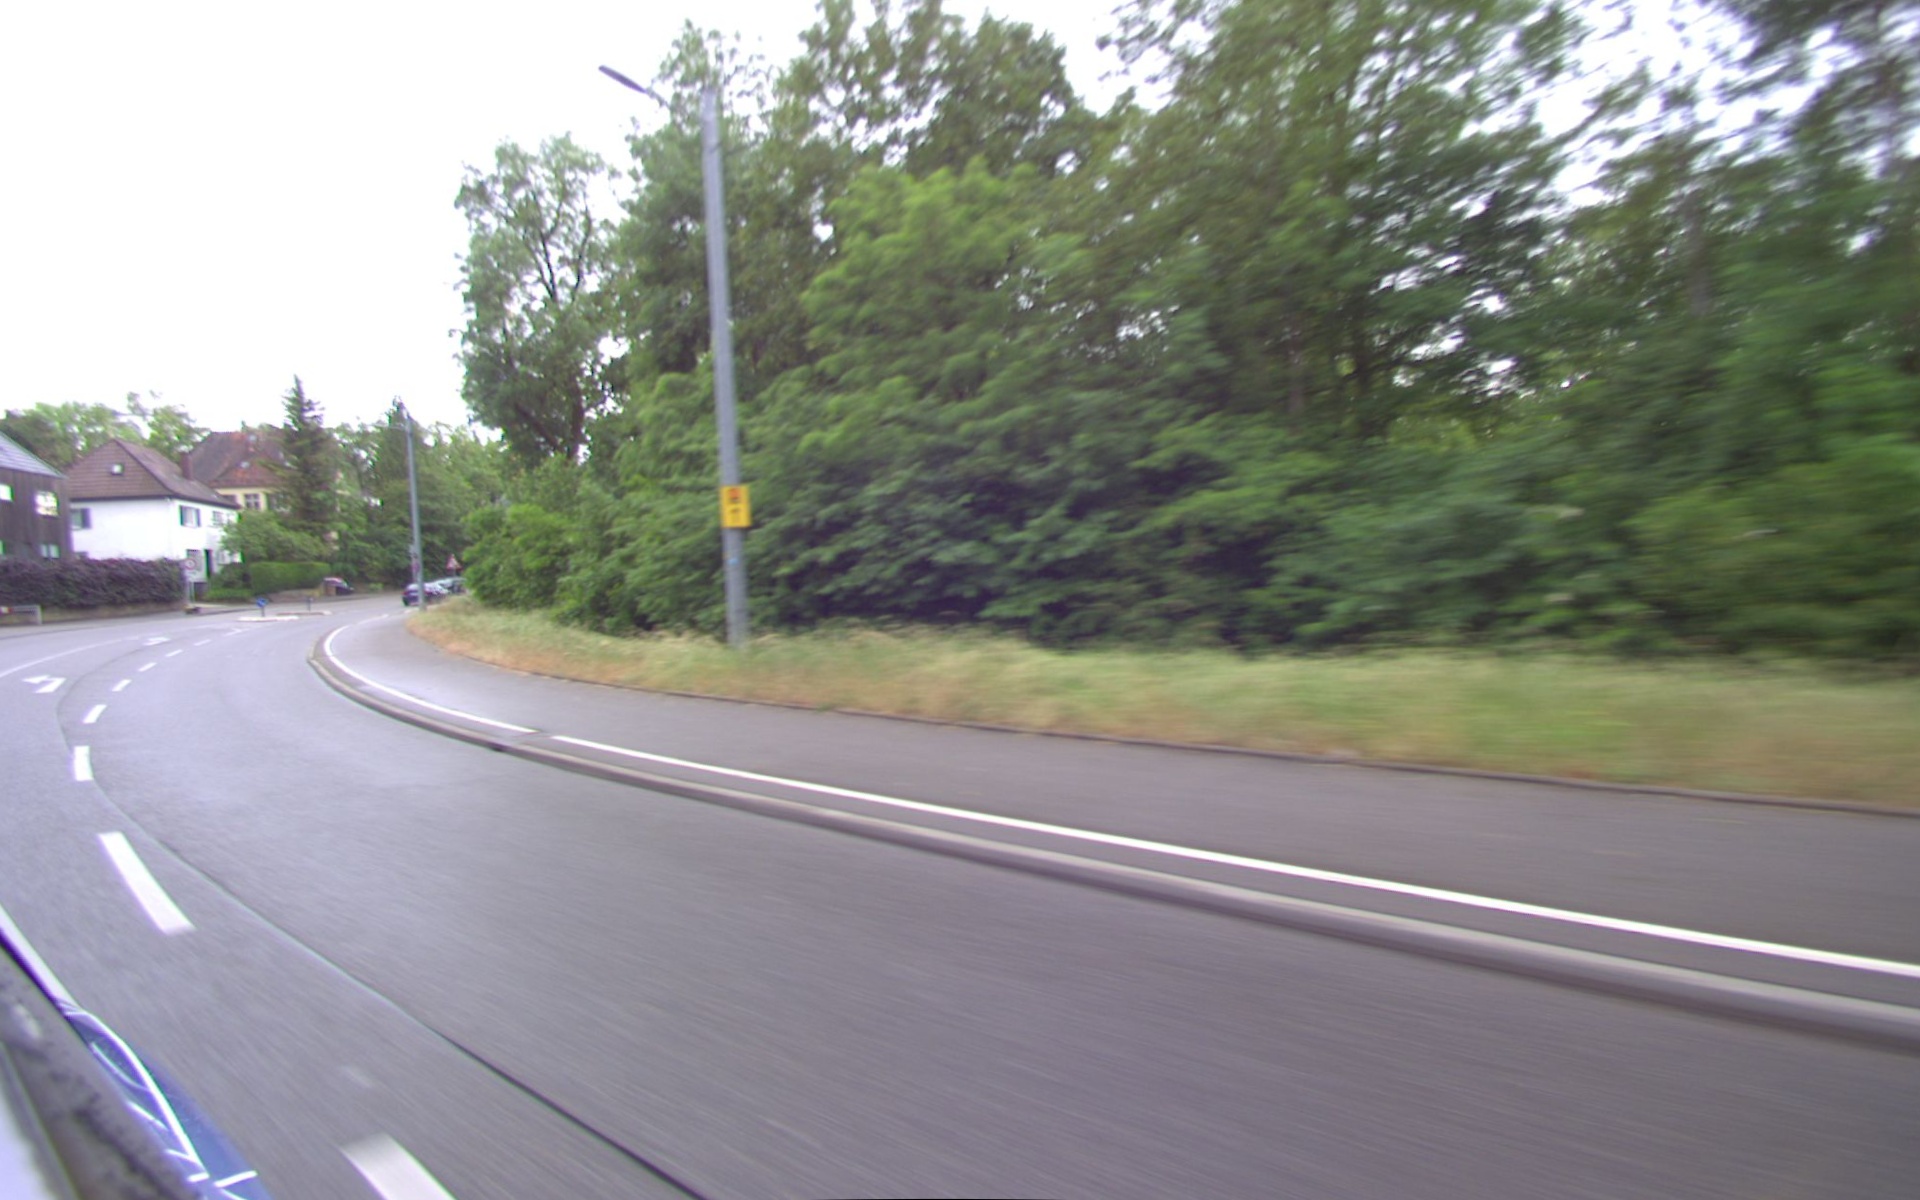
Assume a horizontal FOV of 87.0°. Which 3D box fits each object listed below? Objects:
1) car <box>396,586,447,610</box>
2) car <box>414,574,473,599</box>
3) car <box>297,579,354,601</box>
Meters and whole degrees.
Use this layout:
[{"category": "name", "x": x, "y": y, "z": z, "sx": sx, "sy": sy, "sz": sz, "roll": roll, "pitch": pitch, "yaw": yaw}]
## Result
[{"category": "car", "x": -35.878, "y": -0.172, "z": 67.540, "sx": 1.822, "sy": 1.512, "sz": 4.643, "roll": 1, "pitch": 1, "yaw": -12}, {"category": "car", "x": -40.723, "y": -1.088, "z": 79.908, "sx": 1.981, "sy": 1.729, "sz": 3.982, "roll": -2, "pitch": 3, "yaw": 15}, {"category": "car", "x": -49.598, "y": -0.810, "z": 79.162, "sx": 3.434, "sy": 1.422, "sz": 1.430, "roll": -5, "pitch": 3, "yaw": -7}]
